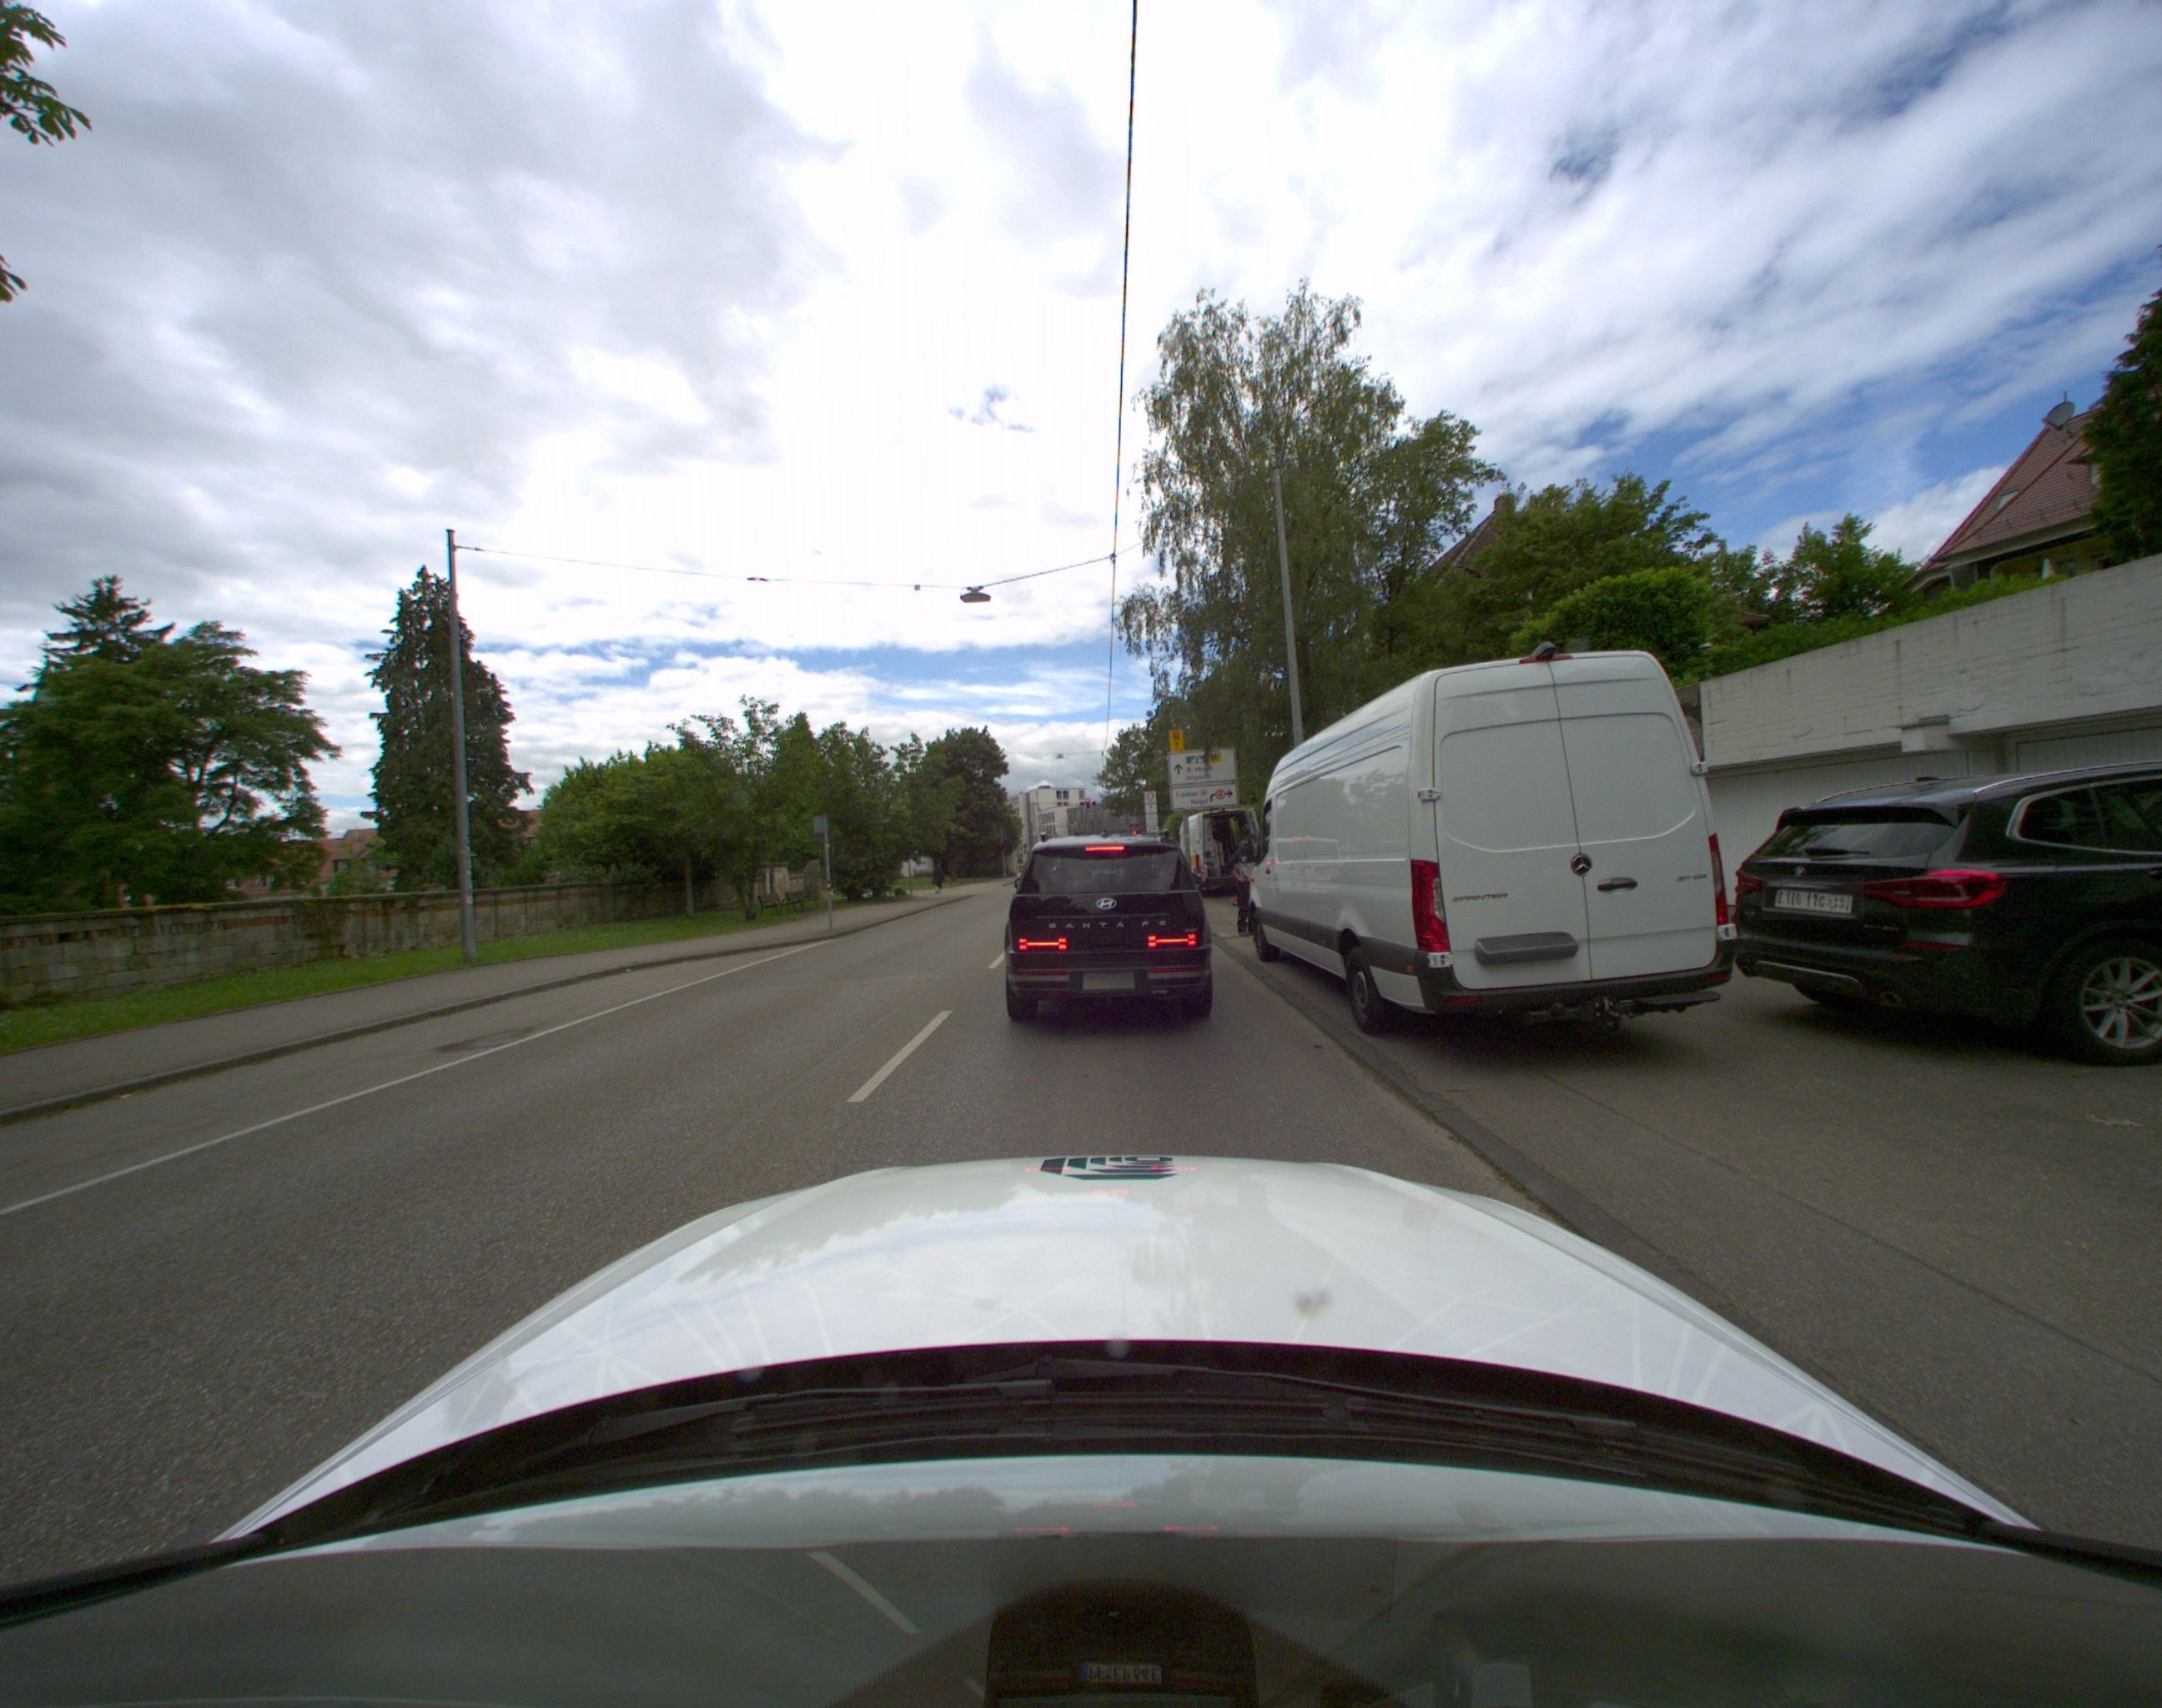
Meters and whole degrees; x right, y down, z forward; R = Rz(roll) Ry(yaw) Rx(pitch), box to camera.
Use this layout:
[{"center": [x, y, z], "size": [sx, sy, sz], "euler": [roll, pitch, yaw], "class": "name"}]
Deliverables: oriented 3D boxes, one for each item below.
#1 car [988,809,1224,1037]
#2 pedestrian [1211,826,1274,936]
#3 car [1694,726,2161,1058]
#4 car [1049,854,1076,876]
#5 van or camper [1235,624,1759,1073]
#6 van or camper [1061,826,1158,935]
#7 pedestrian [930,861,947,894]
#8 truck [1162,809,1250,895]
[{"center": [0.267, 0.567, 8.679], "size": [1.883, 1.819, 4.002], "euler": [-2, 0, 2], "class": "car"}, {"center": [2.762, 0.446, 14.017], "size": [0.867, 1.797, 0.760], "euler": [-3, 0, 1], "class": "pedestrian"}, {"center": [6.863, 0.129, 5.239], "size": [4.398, 1.750, 1.739], "euler": [-3, 0, 3], "class": "car"}, {"center": [-1.512, 0.888, 67.510], "size": [1.852, 1.657, 4.307], "euler": [-6, 0, 2], "class": "car"}, {"center": [3.134, -0.028, 8.208], "size": [1.986, 2.620, 6.543], "euler": [-3, 0, 2], "class": "van or camper"}, {"center": [0.616, 0.509, 17.622], "size": [1.748, 2.013, 4.002], "euler": [-3, 0, 2], "class": "van or camper"}, {"center": [-7.668, 1.242, 43.881], "size": [0.737, 1.715, 0.791], "euler": [-3, 0, -5], "class": "pedestrian"}, {"center": [4.160, -0.037, 28.053], "size": [1.937, 2.561, 5.213], "euler": [-5, -1, -1], "class": "truck"}]
